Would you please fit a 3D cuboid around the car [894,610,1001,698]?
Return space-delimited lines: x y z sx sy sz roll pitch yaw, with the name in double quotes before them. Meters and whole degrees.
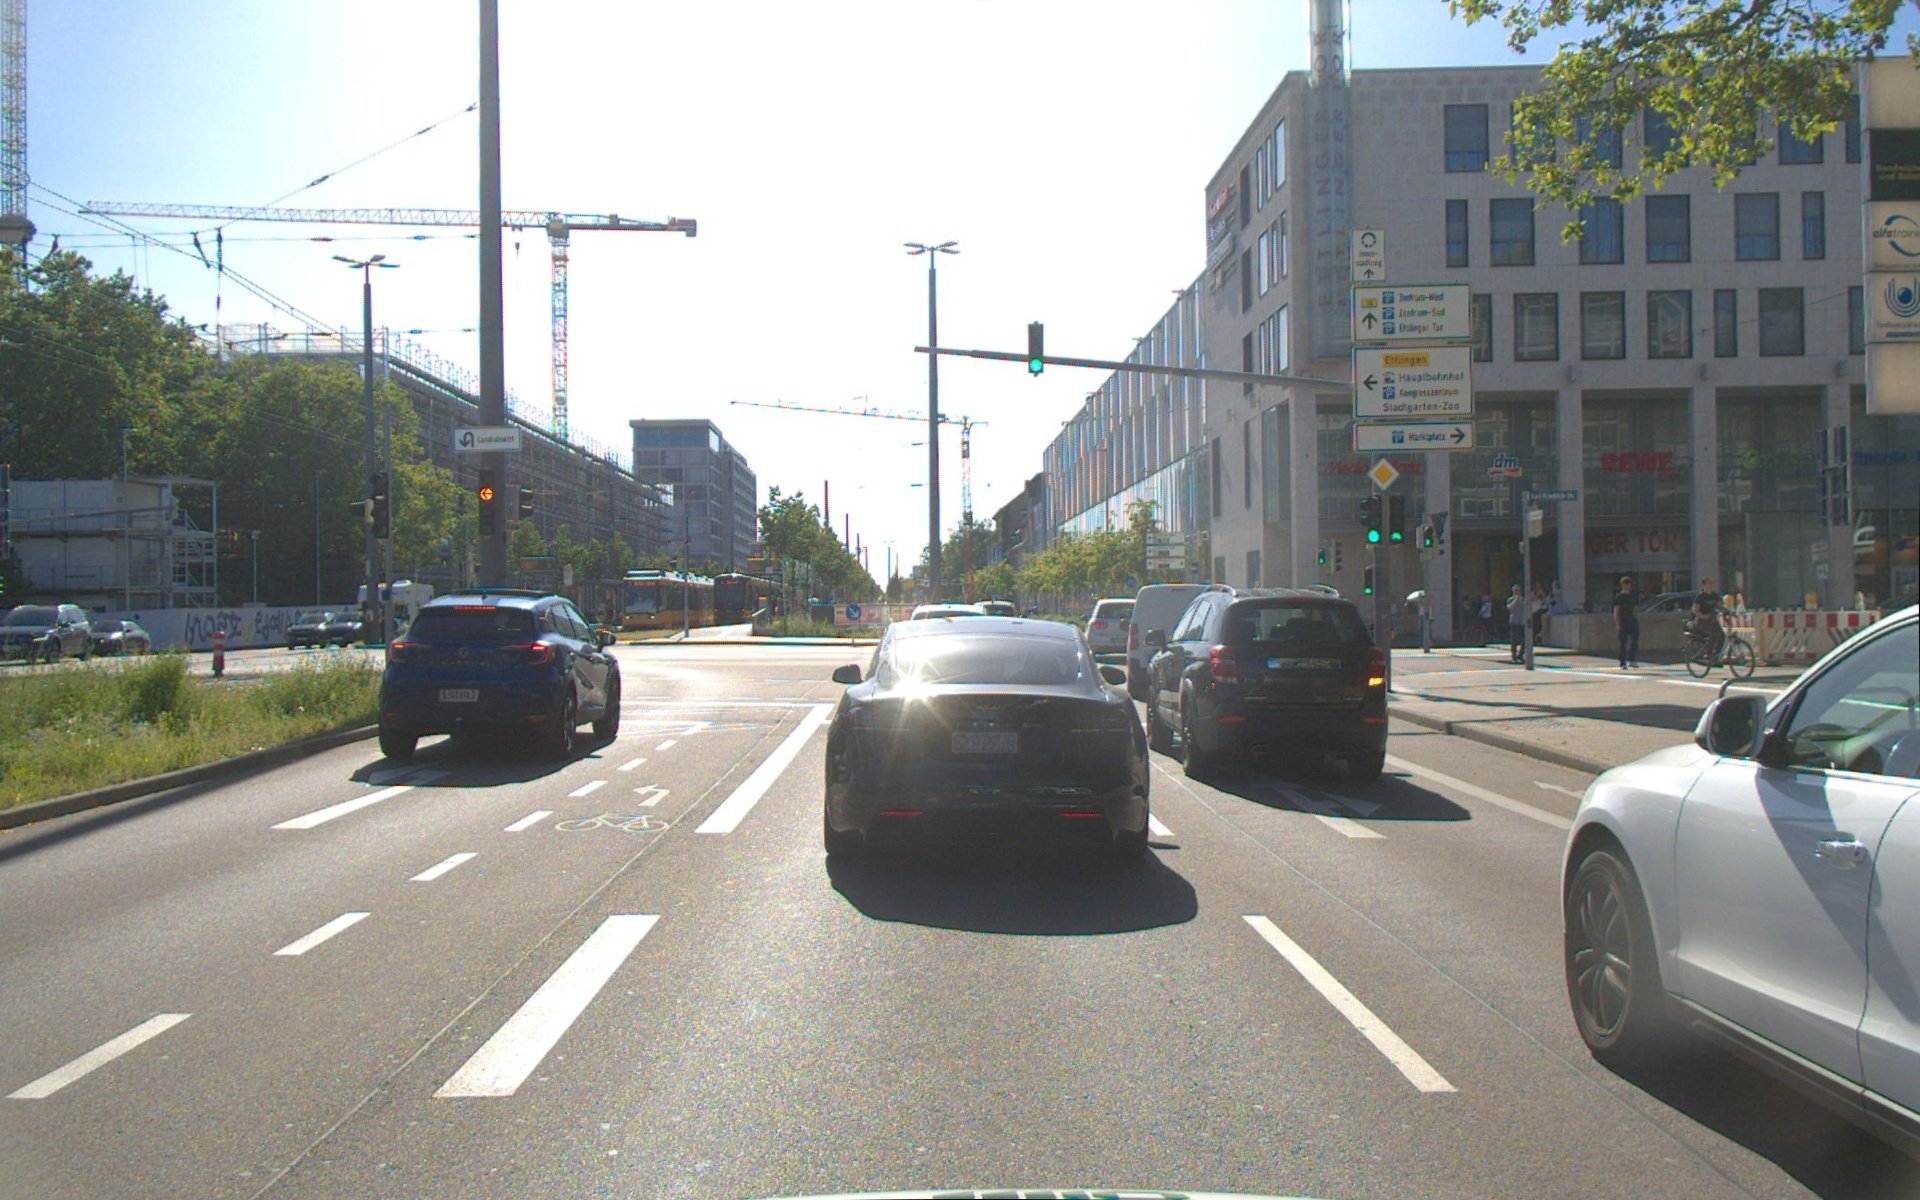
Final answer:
"car" -0.224 0.856 28.064 1.681 1.343 3.999 0 0 -1

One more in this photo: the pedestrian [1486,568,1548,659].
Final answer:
"pedestrian" 12.898 0.307 38.323 0.930 2.049 1.076 -1 0 -13

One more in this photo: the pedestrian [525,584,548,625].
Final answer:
"pedestrian" -19.211 0.208 75.027 0.784 1.855 0.975 -1 0 -4

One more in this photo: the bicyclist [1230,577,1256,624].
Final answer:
"bicyclist" 10.746 0.034 62.781 0.711 1.767 0.996 -1 -1 -5

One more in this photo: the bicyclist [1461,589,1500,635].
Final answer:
"bicyclist" 17.511 0.396 55.664 1.000 1.502 1.072 -1 0 2

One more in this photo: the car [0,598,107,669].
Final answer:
"car" -26.854 0.945 48.333 1.832 1.990 3.999 -1 0 -1

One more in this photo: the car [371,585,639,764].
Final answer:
"car" -4.578 0.690 17.243 1.734 1.616 4.087 1 0 -2

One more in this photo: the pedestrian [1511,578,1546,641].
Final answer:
"pedestrian" 15.146 0.250 44.056 0.648 1.640 0.526 -3 0 -10

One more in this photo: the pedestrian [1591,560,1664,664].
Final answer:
"pedestrian" 13.382 0.233 33.193 0.929 2.049 1.077 -1 0 -9

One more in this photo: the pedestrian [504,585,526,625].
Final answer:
"pedestrian" -20.469 0.231 76.153 0.784 1.855 0.975 -1 0 -4

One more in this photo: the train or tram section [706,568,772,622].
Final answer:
"train or tram section" -14.808 -0.301 111.912 2.812 3.337 15.179 1 0 -2

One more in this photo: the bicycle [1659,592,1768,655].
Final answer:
"bicycle" 12.762 0.382 28.075 0.863 1.002 2.050 -1 0 -2

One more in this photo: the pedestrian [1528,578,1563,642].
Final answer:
"pedestrian" 15.377 0.255 43.445 0.648 1.640 0.526 -3 0 -10

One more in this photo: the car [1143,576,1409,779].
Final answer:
"car" 2.942 0.657 16.346 1.748 1.729 4.412 0 0 -1

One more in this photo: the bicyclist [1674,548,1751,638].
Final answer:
"bicyclist" 12.763 -0.116 28.073 0.863 1.502 0.883 -1 0 -2

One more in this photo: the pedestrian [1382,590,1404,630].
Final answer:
"pedestrian" 17.879 0.422 68.325 0.732 1.636 0.556 -1 0 -3

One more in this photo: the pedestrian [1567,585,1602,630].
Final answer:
"pedestrian" 23.916 0.291 63.381 0.957 1.713 0.860 -1 0 -4

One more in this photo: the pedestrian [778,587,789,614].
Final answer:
"pedestrian" -12.166 0.052 114.318 0.658 1.842 1.074 -1 -1 -3

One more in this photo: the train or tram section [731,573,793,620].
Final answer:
"train or tram section" -15.411 -0.222 130.569 2.812 3.337 22.134 1 0 -2

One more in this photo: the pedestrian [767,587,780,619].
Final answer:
"pedestrian" -10.433 0.158 92.601 0.689 1.806 0.958 1 0 -5

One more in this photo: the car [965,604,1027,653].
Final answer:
"car" 1.019 0.803 48.686 1.681 1.343 3.999 0 0 -1

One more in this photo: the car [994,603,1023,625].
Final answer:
"car" 3.430 0.996 118.224 1.895 1.569 3.999 0 0 -1

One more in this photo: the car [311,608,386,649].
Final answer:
"car" -27.433 1.263 74.303 1.907 1.737 4.364 -1 0 -3

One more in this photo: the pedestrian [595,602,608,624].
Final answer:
"pedestrian" -20.634 0.745 95.265 0.658 1.248 0.505 1 -1 -5

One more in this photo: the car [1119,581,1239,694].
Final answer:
"car" 3.647 0.588 28.149 1.747 1.764 4.165 0 0 4

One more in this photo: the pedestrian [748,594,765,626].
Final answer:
"pedestrian" -11.720 0.566 95.352 0.857 1.806 1.188 1 0 -5

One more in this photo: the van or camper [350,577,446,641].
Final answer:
"van or camper" -27.912 0.440 82.488 2.553 2.988 7.337 -1 0 -3

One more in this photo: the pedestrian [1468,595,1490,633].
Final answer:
"pedestrian" 22.375 0.601 71.307 0.551 1.636 0.740 -1 1 -38

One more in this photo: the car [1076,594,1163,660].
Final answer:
"car" 3.936 0.638 41.426 1.748 1.573 4.038 0 0 -1

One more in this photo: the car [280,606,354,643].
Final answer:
"car" -31.872 1.180 82.158 1.953 1.737 4.559 -1 0 -1

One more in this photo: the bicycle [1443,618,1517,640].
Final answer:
"bicycle" 17.480 0.977 55.649 2.147 0.683 1.072 -1 0 2

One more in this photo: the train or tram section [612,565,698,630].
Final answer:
"train or tram section" -17.287 -0.111 94.546 2.812 3.367 13.067 1 0 -2

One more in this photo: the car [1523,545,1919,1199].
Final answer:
"car" 3.061 0.690 4.113 1.782 1.642 4.412 0 0 -1

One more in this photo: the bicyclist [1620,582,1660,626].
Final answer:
"bicyclist" 22.843 0.124 55.561 0.913 1.458 1.041 -1 0 2

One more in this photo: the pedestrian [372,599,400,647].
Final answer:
"pedestrian" -22.373 0.890 64.481 0.784 1.855 0.975 -1 0 -4

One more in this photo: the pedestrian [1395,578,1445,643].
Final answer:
"pedestrian" 13.559 0.306 48.777 0.947 1.833 1.522 -3 0 -2

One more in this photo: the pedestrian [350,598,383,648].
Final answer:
"pedestrian" -22.574 0.866 62.927 0.785 1.855 0.880 -1 0 31

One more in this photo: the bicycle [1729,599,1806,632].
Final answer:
"bicycle" 28.469 0.528 58.404 1.044 1.113 3.498 -1 0 1

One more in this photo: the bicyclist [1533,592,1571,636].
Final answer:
"bicyclist" 19.892 0.469 55.586 0.913 1.420 1.077 -1 0 2

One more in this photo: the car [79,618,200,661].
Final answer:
"car" -33.157 1.571 66.945 1.956 1.629 3.992 -1 0 30

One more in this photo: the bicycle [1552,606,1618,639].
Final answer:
"bicycle" 22.248 0.797 58.928 1.044 1.113 3.497 -1 0 0

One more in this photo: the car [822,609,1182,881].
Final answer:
"car" 0.213 0.800 11.195 1.958 1.459 4.412 0 0 -1

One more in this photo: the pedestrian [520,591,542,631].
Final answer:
"pedestrian" -20.284 0.518 78.211 0.784 1.855 0.975 -1 0 -4

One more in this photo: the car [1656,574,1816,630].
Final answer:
"car" 24.202 0.088 51.695 4.099 1.641 1.861 -1 -2 1

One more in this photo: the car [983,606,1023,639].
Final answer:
"car" 1.982 1.026 76.865 1.681 1.457 3.999 0 0 -1

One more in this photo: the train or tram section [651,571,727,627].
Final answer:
"train or tram section" -17.690 0.010 109.028 2.790 3.380 15.959 1 -1 -2

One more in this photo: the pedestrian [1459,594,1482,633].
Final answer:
"pedestrian" 21.871 0.588 70.888 0.551 1.636 0.740 -1 1 -38
